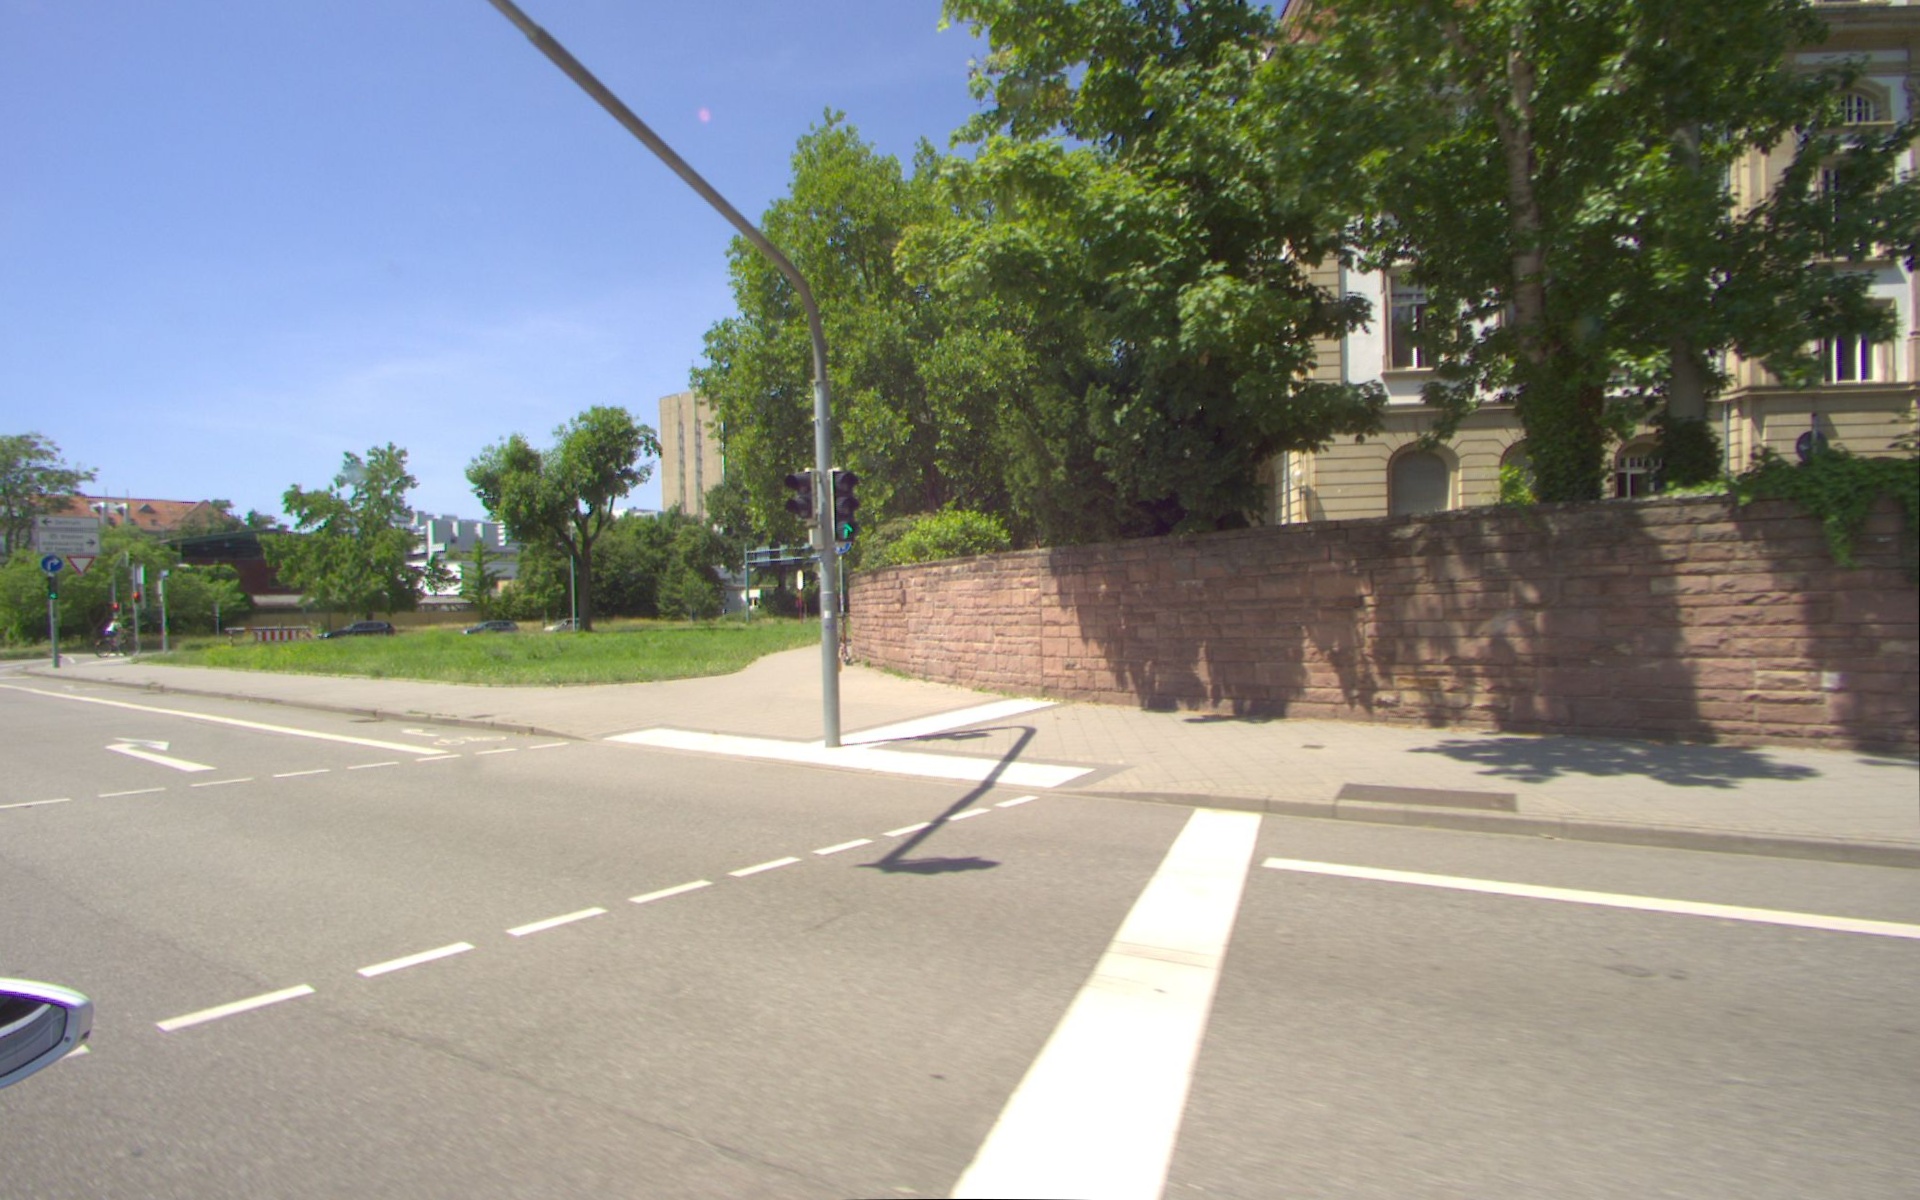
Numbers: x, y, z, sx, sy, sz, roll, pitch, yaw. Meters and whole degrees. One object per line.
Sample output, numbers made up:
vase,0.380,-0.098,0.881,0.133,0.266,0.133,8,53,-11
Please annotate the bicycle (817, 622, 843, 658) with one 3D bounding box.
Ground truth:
bicycle,-3.521,1.085,27.061,0.666,0.940,1.775,0,-2,-8

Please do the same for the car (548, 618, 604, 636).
car,-30.850,2.183,80.522,1.737,1.457,3.975,-1,-2,36

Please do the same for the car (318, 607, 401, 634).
car,-40.751,1.379,68.015,1.691,1.607,4.514,-2,0,43

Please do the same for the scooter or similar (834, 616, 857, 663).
scooter or similar,-2.810,0.965,24.549,0.368,1.123,1.348,0,-2,-14

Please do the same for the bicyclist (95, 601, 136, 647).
bicyclist,-35.952,1.022,42.657,0.696,1.911,1.137,0,-1,17

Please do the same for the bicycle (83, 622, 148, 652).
bicycle,-36.007,1.589,42.724,0.512,1.253,2.189,0,-2,18
